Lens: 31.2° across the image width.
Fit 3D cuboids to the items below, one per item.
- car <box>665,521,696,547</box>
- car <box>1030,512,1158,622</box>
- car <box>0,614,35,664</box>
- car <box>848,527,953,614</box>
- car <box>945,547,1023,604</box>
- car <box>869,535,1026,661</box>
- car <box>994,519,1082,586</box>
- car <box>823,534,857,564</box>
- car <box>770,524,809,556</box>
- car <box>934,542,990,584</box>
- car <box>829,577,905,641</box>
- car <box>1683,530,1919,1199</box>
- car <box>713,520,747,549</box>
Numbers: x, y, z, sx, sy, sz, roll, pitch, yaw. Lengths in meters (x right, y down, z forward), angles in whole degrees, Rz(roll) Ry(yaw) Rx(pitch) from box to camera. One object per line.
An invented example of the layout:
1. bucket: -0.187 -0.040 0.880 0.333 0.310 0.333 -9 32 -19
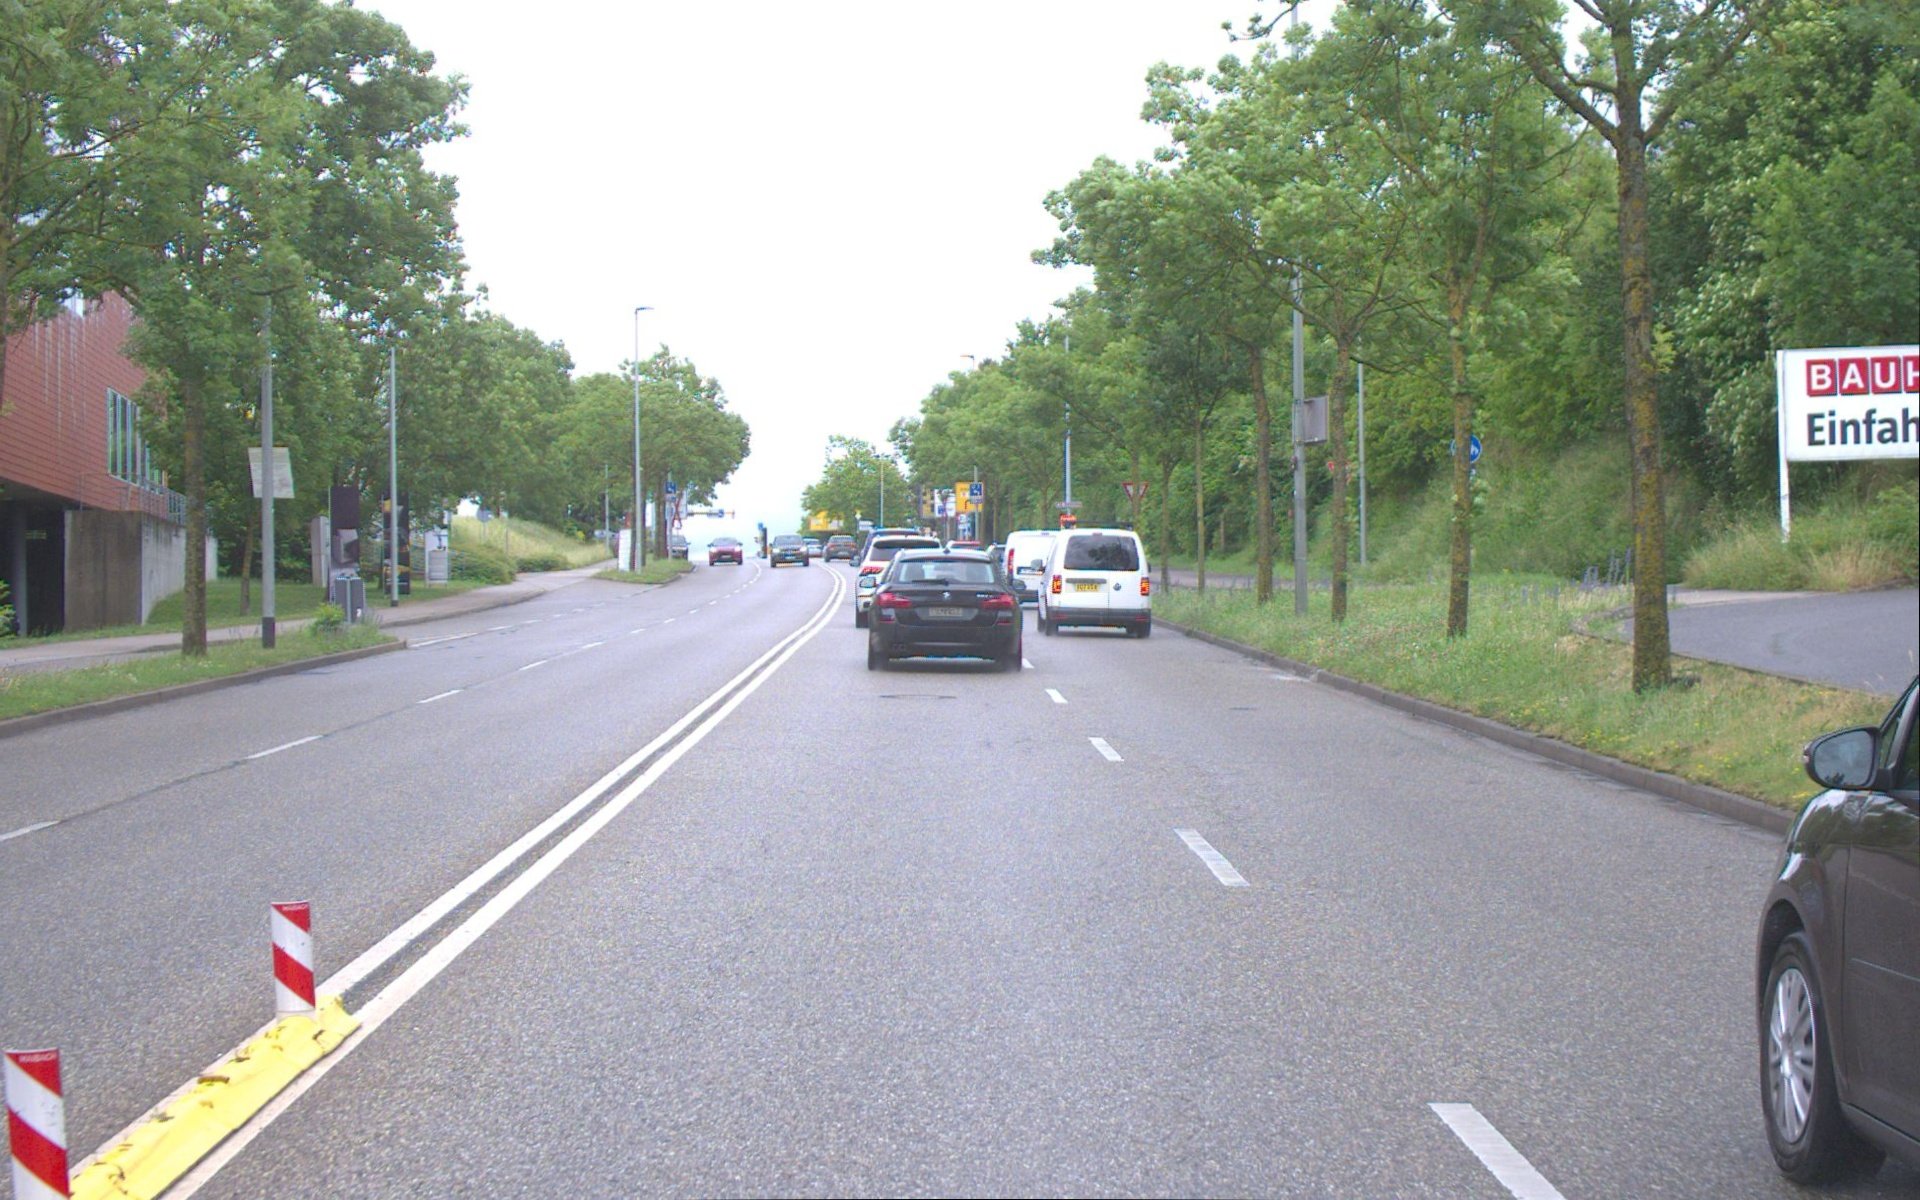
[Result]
1. car: -16.810 -3.973 207.209 1.794 1.505 4.001 1 0 -4
2. car: 2.224 -0.575 58.042 1.827 1.753 4.001 1 1 -2
3. car: -26.348 0.992 90.485 3.536 1.280 1.521 1 0 2
4. car: -1.117 -0.535 62.835 1.794 1.505 4.000 1 0 -2
5. car: 0.628 -0.669 94.285 1.794 1.505 4.001 1 0 -4
6. car: -0.155 -0.062 42.155 1.827 1.463 4.000 0 1 0
7. car: 1.803 -1.096 80.766 1.794 1.505 4.000 1 0 -2
8. car: -6.545 -2.777 187.759 1.794 1.505 4.000 1 0 -3
9. car: -8.545 -3.014 172.211 1.794 1.505 4.001 1 0 -4
10. car: 0.068 -1.399 131.000 1.794 1.505 4.001 1 0 -4
11. car: -2.327 0.206 85.069 1.794 1.505 4.000 1 0 -2
12. car: 2.810 0.665 6.790 1.685 1.576 4.219 1 0 -2
13. car: -12.538 -3.559 187.073 1.794 1.505 4.001 1 0 -4
